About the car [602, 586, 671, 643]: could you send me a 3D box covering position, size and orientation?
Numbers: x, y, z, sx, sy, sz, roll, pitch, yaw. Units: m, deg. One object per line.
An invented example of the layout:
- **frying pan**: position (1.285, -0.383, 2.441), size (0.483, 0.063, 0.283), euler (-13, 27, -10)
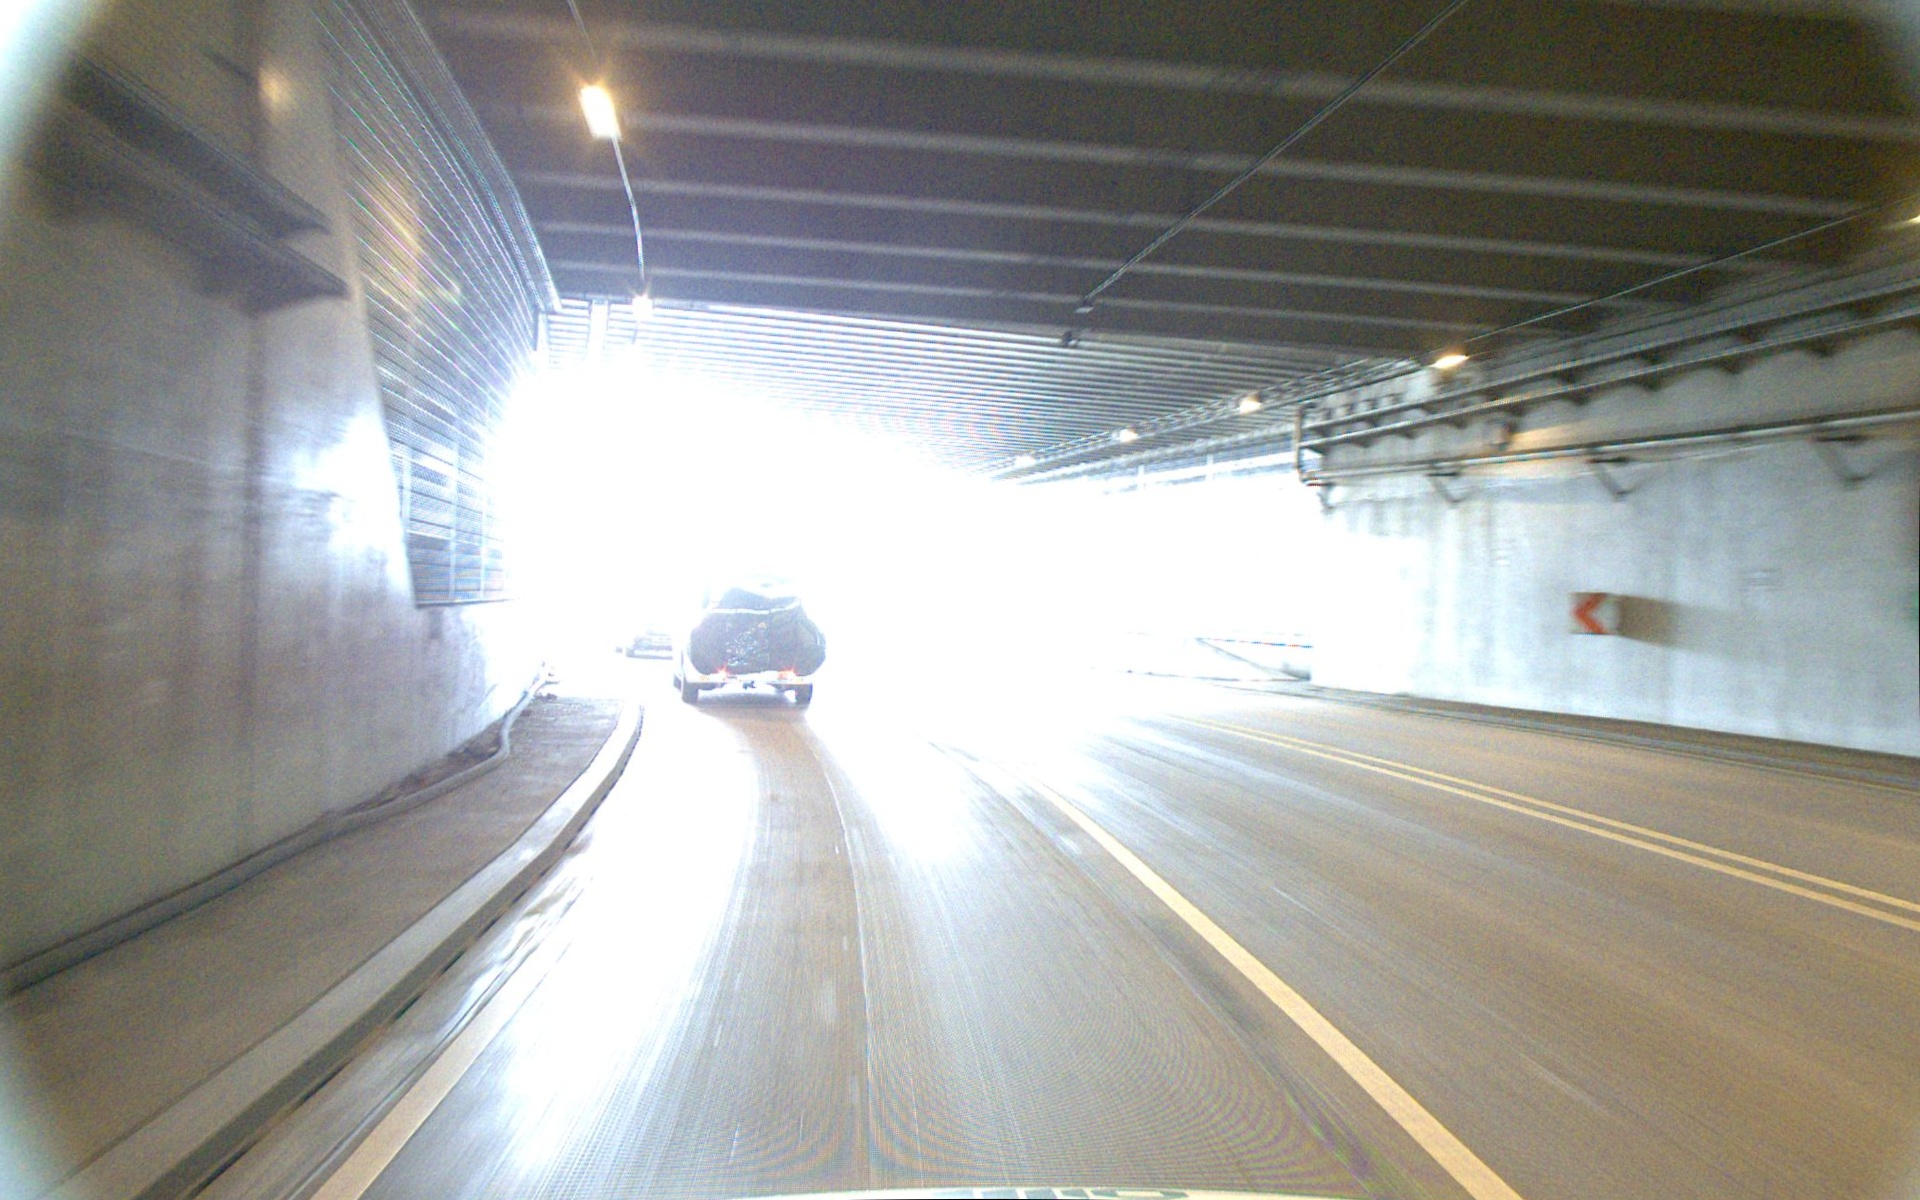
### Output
- **car**: position (-9.820, 0.415, 49.958), size (1.887, 1.514, 4.052), euler (3, 1, -13)

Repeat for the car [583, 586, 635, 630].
- **car**: position (-14.209, 0.300, 66.968), size (1.958, 1.693, 3.988), euler (1, 0, -12)

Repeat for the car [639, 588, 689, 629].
- **car**: position (-12.712, 0.339, 70.914), size (1.958, 1.693, 3.988), euler (1, 0, -12)

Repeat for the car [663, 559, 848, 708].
- **car**: position (-3.104, 0.422, 23.956), size (1.959, 1.891, 5.619), euler (0, 0, -14)

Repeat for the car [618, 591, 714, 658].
- **car**: position (-6.922, 0.541, 38.686), size (1.785, 1.459, 4.047), euler (2, 0, -16)

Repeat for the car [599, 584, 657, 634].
- **car**: position (-12.063, 0.309, 60.030), size (1.958, 1.693, 3.988), euler (1, 0, -12)
